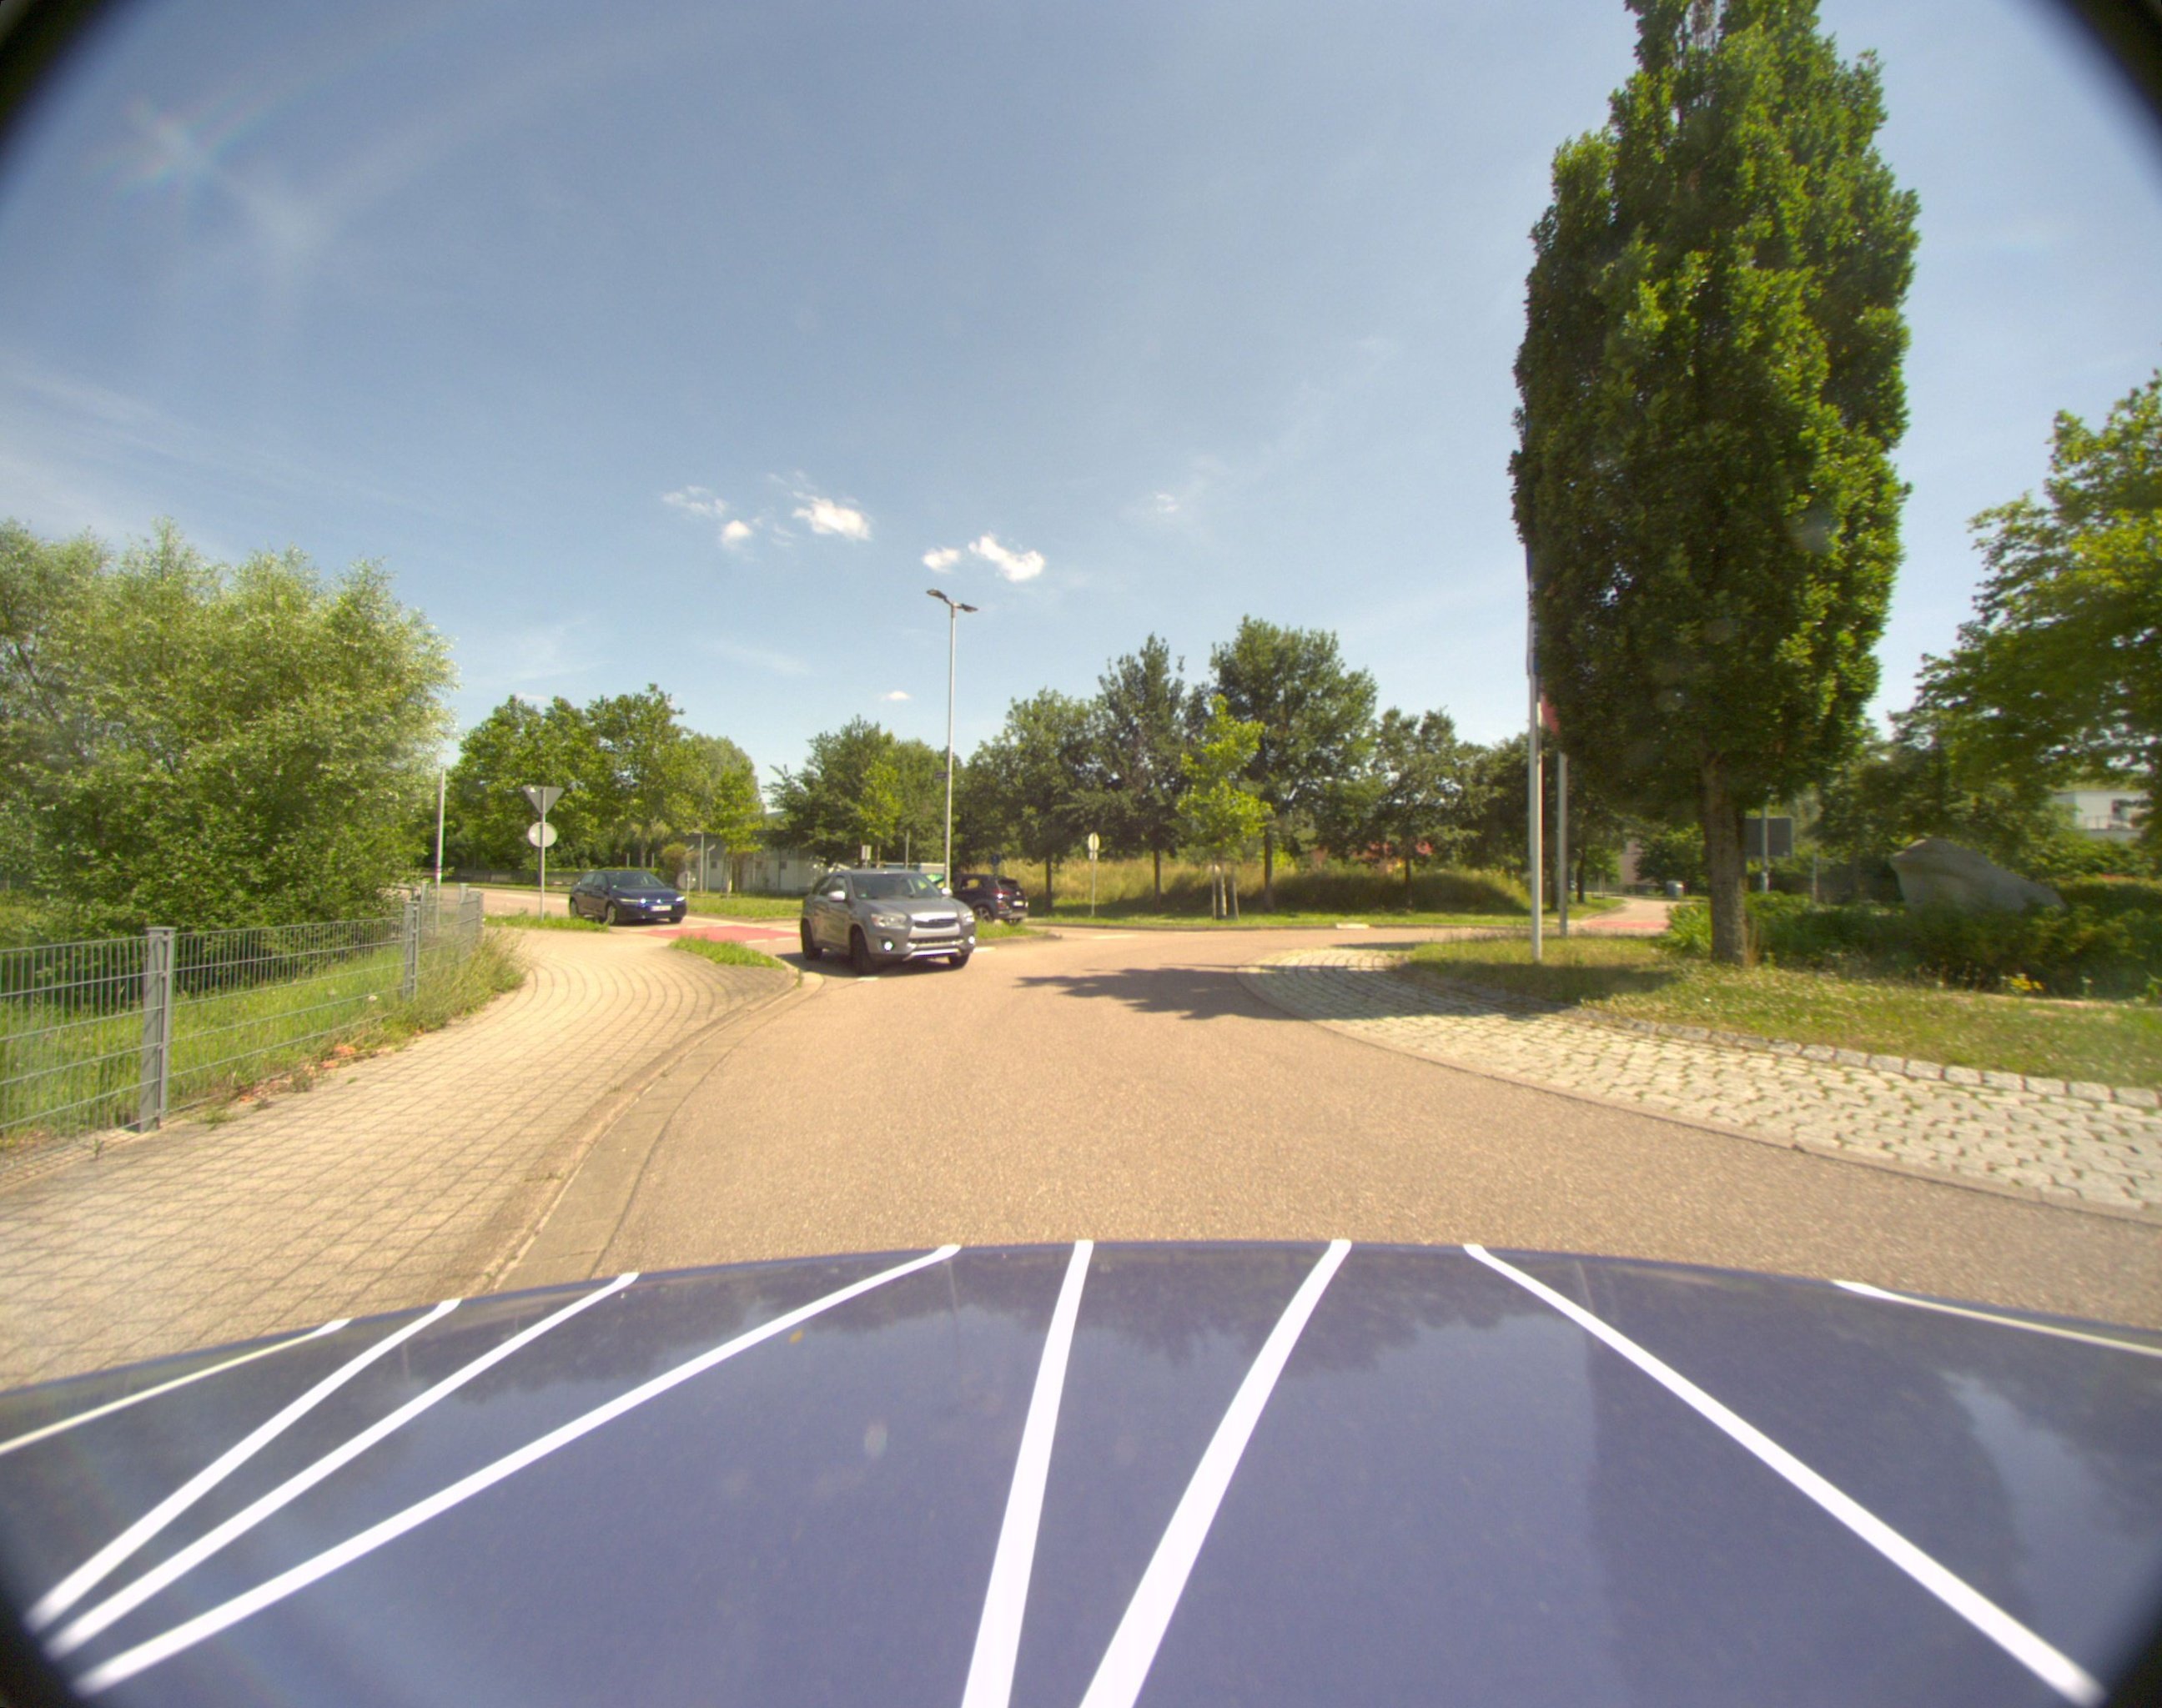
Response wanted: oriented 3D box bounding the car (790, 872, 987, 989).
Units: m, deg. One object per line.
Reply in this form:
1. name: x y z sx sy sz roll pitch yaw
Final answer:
1. car: -3.412 1.111 12.769 1.754 1.525 4.512 1 -1 -34

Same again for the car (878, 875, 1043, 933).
1. car: -3.580 1.434 22.687 4.477 1.559 1.869 0 -2 18

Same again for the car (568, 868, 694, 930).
1. car: -12.542 1.160 21.062 4.119 1.530 1.799 0 -1 41
